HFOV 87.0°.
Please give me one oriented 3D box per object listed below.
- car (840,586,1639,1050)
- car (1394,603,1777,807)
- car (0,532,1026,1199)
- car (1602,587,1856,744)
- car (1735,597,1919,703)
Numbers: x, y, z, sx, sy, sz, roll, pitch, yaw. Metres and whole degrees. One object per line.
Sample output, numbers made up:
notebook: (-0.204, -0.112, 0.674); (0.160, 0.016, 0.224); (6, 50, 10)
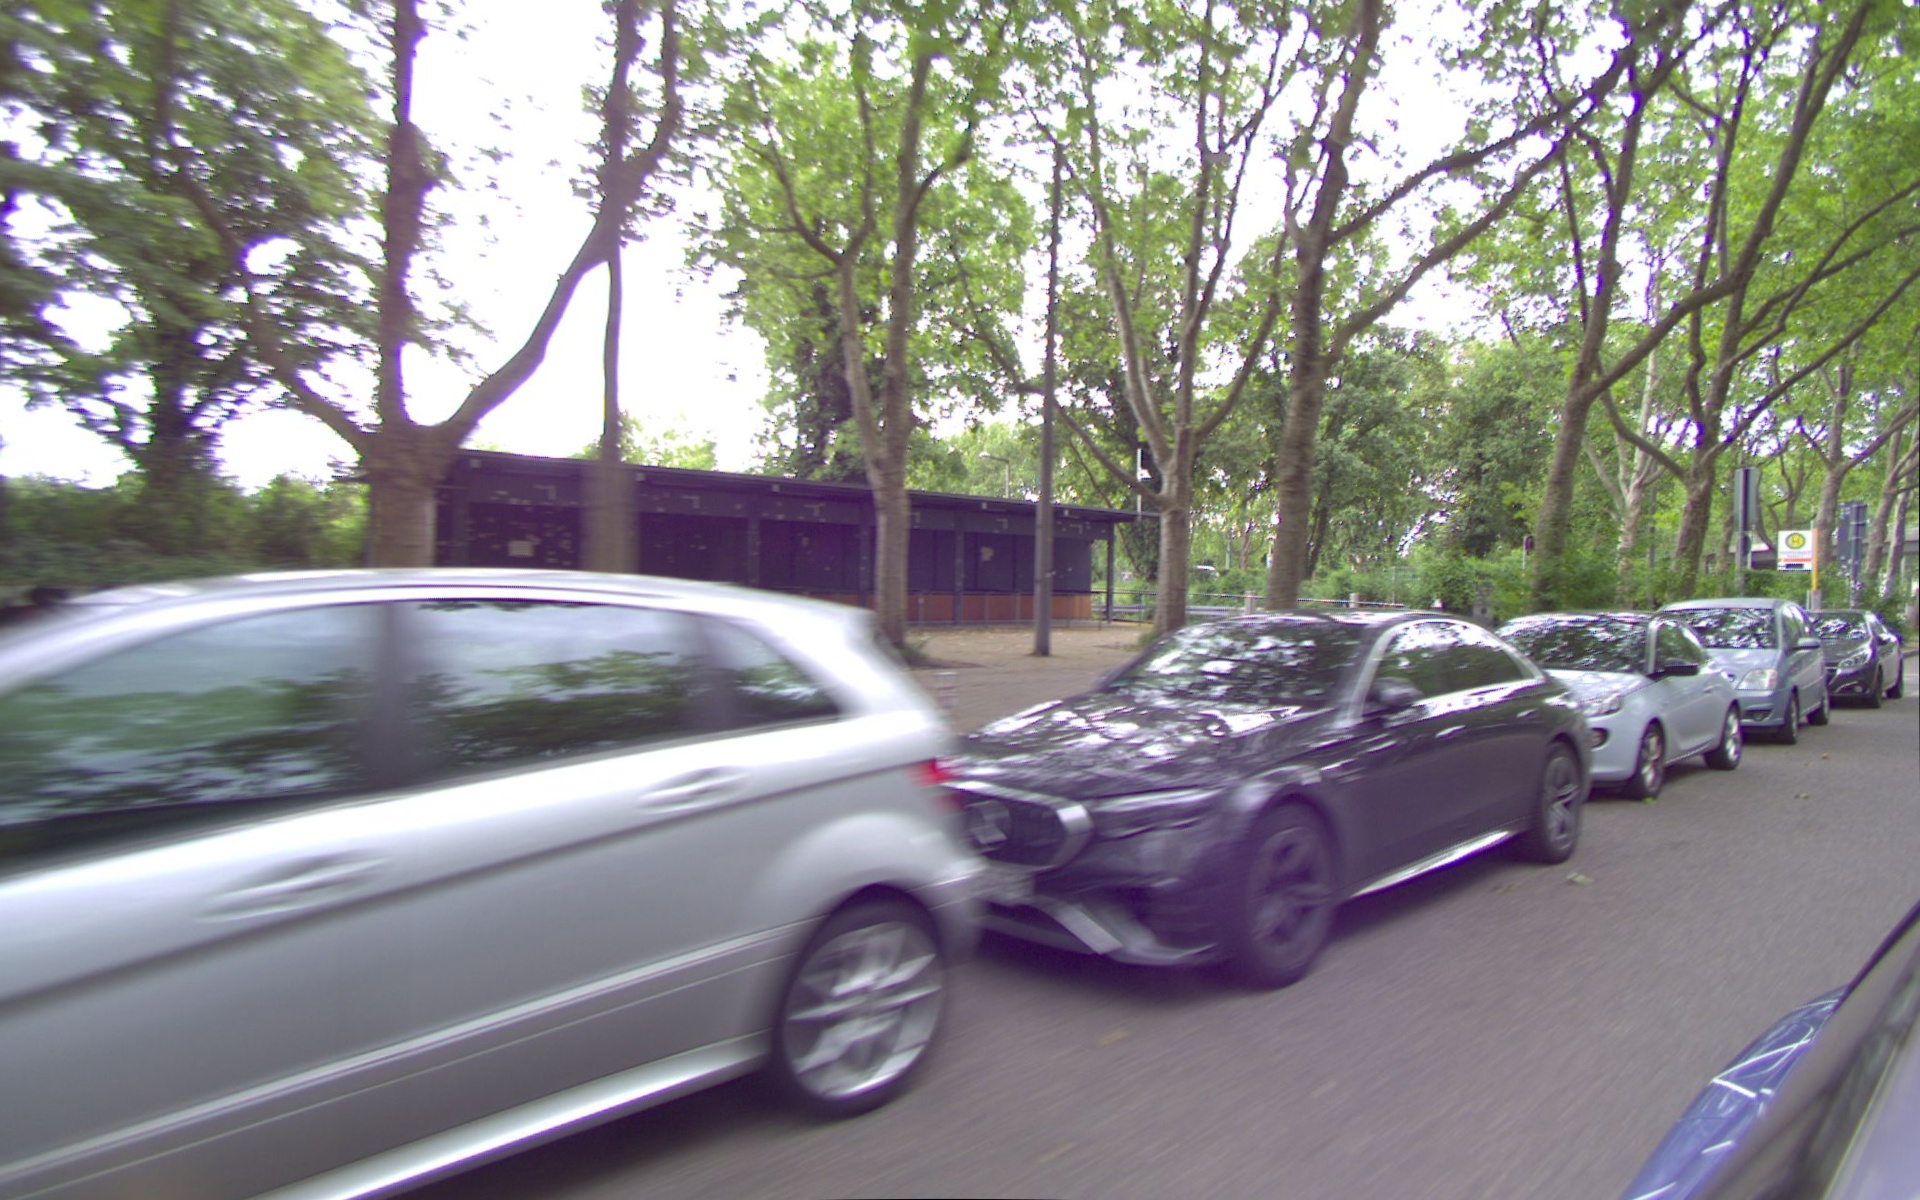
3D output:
car: (1.876, 0.716, 5.529); (4.893, 1.496, 1.733); (0, -1, -40)
car: (5.769, 0.766, 9.153); (4.007, 1.439, 1.733); (0, -1, -40)
car: (-1.937, 0.714, 2.697); (4.149, 1.638, 1.782); (0, -1, -40)
car: (9.426, 0.679, 12.293); (4.010, 1.590, 1.732); (0, -1, -42)
car: (13.945, 0.716, 16.155); (4.009, 1.488, 1.732); (0, -1, -41)
